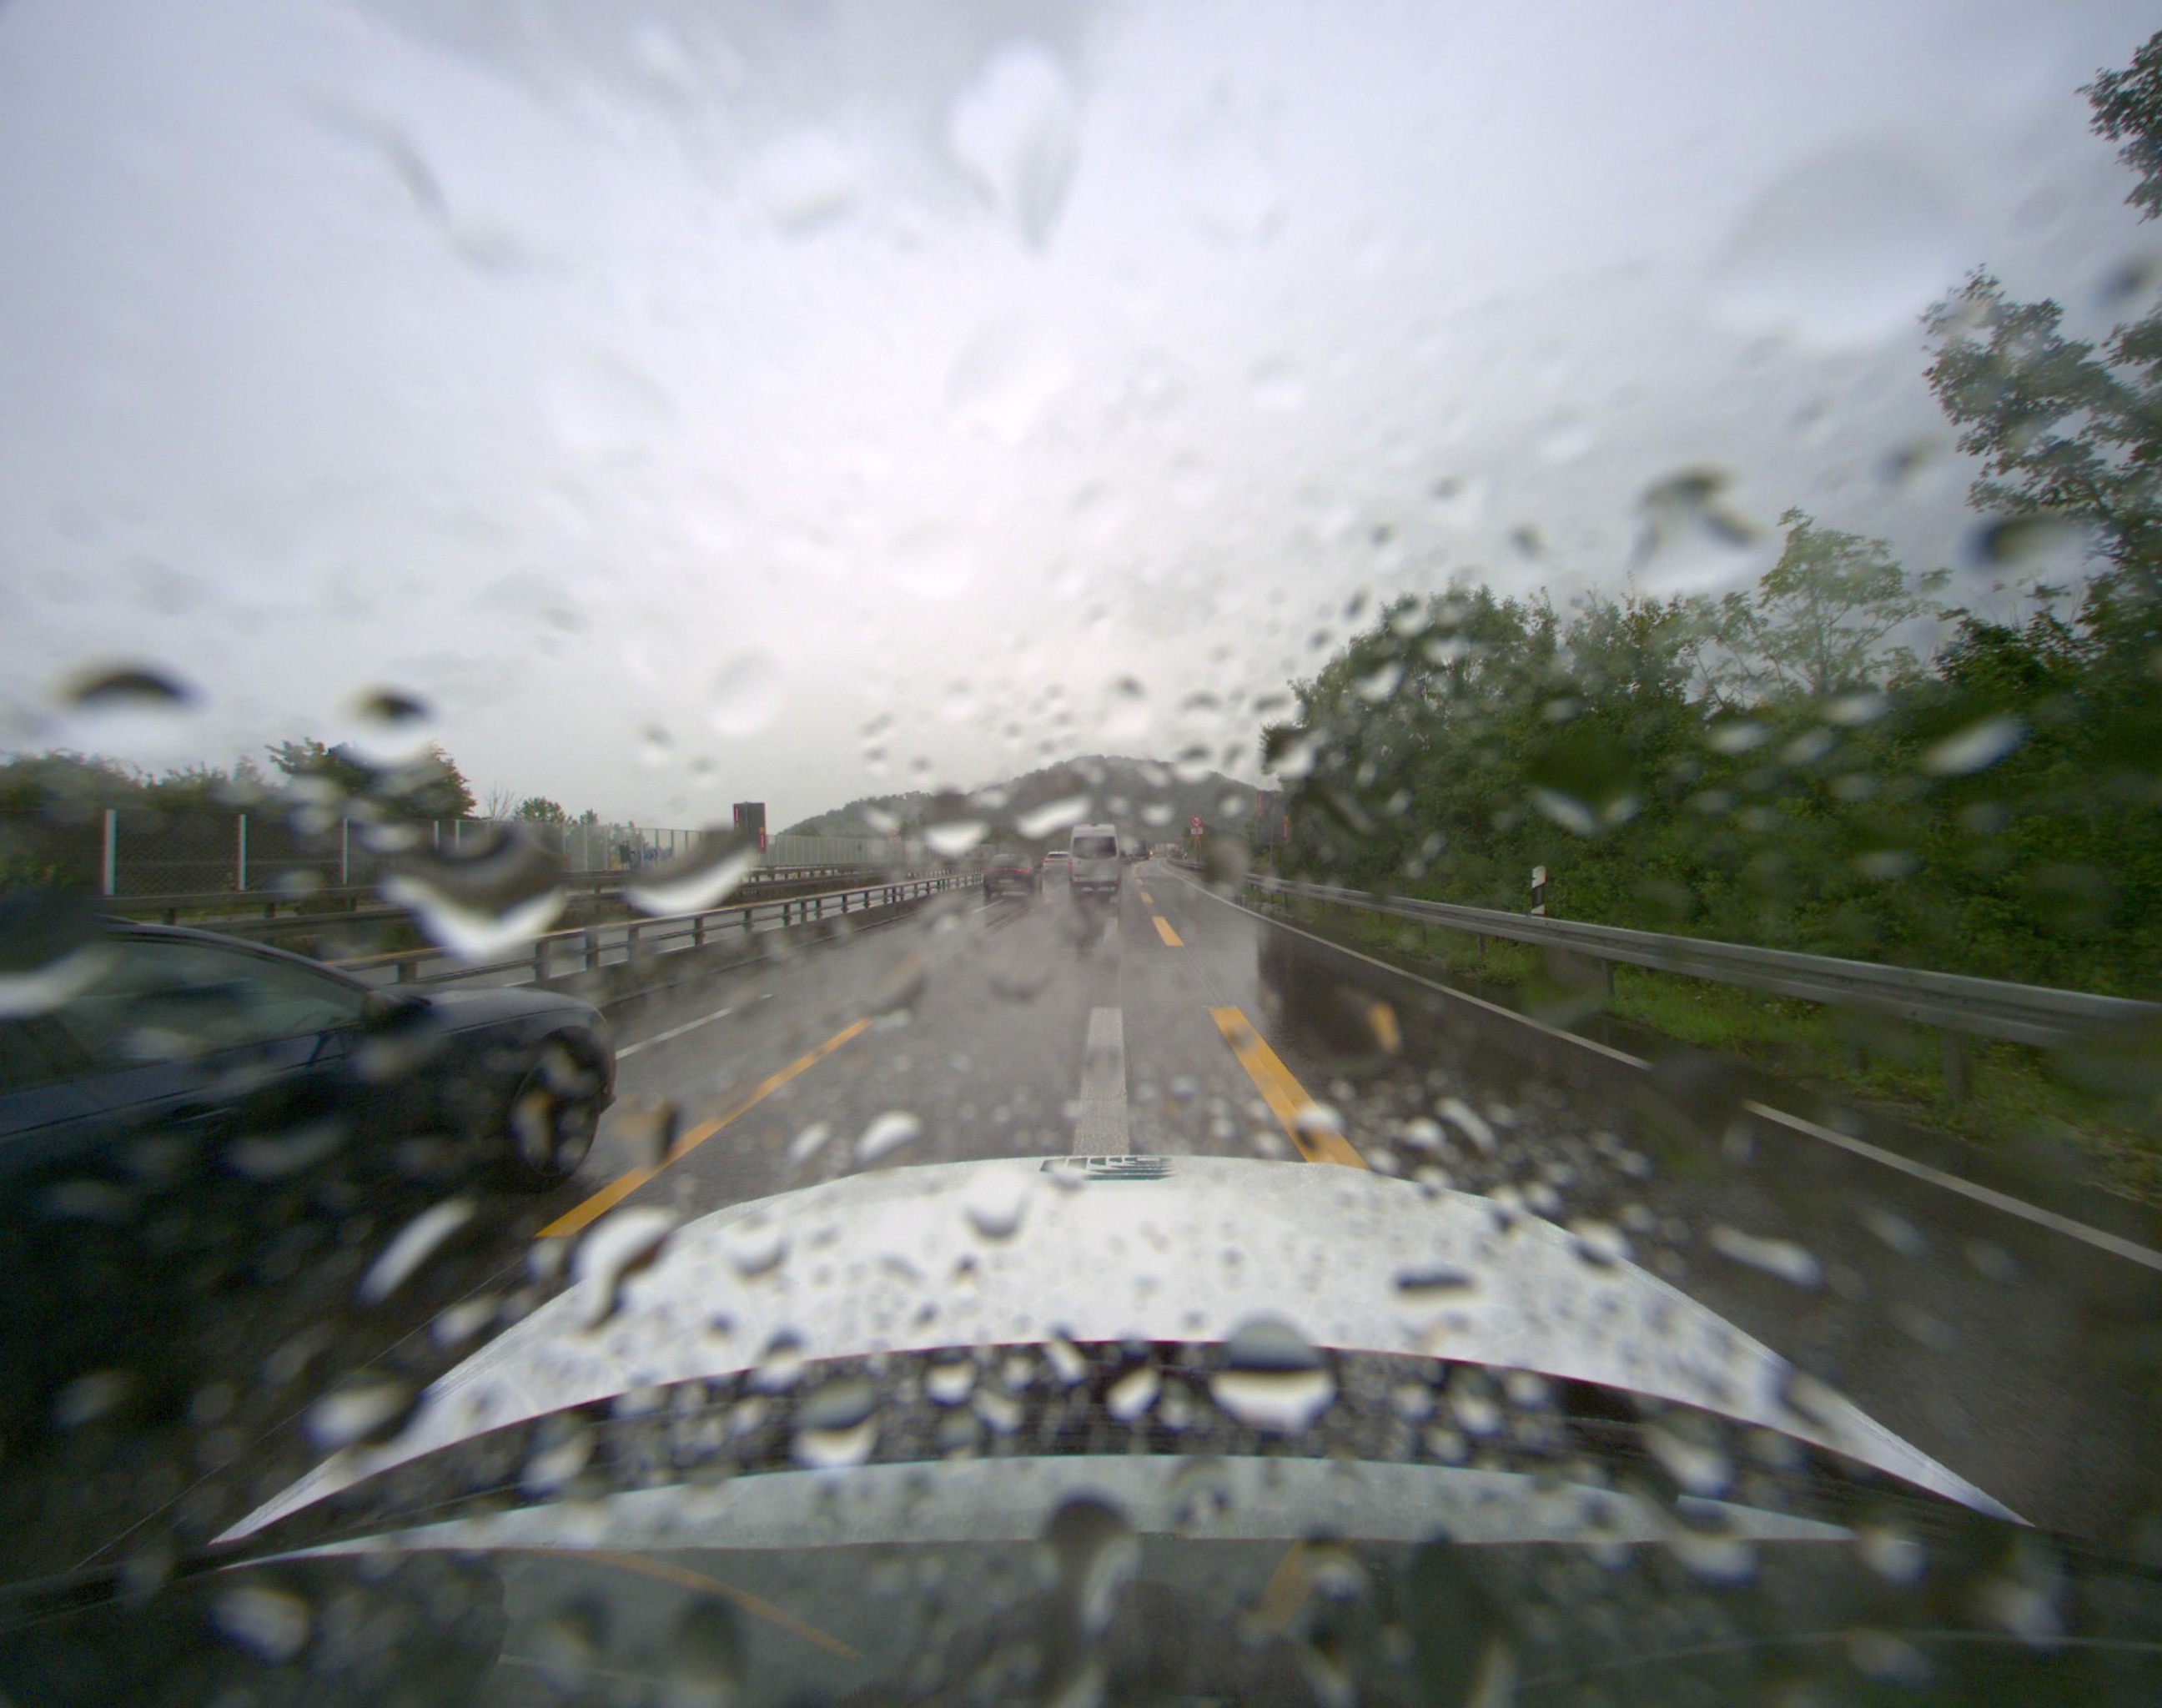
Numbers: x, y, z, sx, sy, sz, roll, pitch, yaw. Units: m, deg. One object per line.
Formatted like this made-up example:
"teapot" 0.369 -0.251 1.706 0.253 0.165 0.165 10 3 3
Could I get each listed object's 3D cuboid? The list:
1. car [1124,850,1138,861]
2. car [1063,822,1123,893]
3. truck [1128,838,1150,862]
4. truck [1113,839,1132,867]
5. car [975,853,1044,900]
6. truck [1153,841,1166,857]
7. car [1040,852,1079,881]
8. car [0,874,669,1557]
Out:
"car" 7.088 0.244 114.928 1.765 1.475 4.006 0 0 6
"car" 0.515 0.144 31.823 2.137 2.571 5.391 0 0 2
"truck" 11.131 -0.768 155.342 3.561 4.406 9.645 0 0 8
"truck" 4.926 -0.057 95.595 1.984 3.109 8.510 0 0 5
"car" -2.547 0.791 30.049 1.986 1.585 4.415 0 0 2
"truck" 22.421 -1.470 232.283 3.019 4.406 9.645 0 0 8
"car" -1.220 0.688 47.859 1.986 1.617 4.798 0 0 2
"car" -3.421 0.847 2.301 1.986 1.498 4.633 0 0 2
